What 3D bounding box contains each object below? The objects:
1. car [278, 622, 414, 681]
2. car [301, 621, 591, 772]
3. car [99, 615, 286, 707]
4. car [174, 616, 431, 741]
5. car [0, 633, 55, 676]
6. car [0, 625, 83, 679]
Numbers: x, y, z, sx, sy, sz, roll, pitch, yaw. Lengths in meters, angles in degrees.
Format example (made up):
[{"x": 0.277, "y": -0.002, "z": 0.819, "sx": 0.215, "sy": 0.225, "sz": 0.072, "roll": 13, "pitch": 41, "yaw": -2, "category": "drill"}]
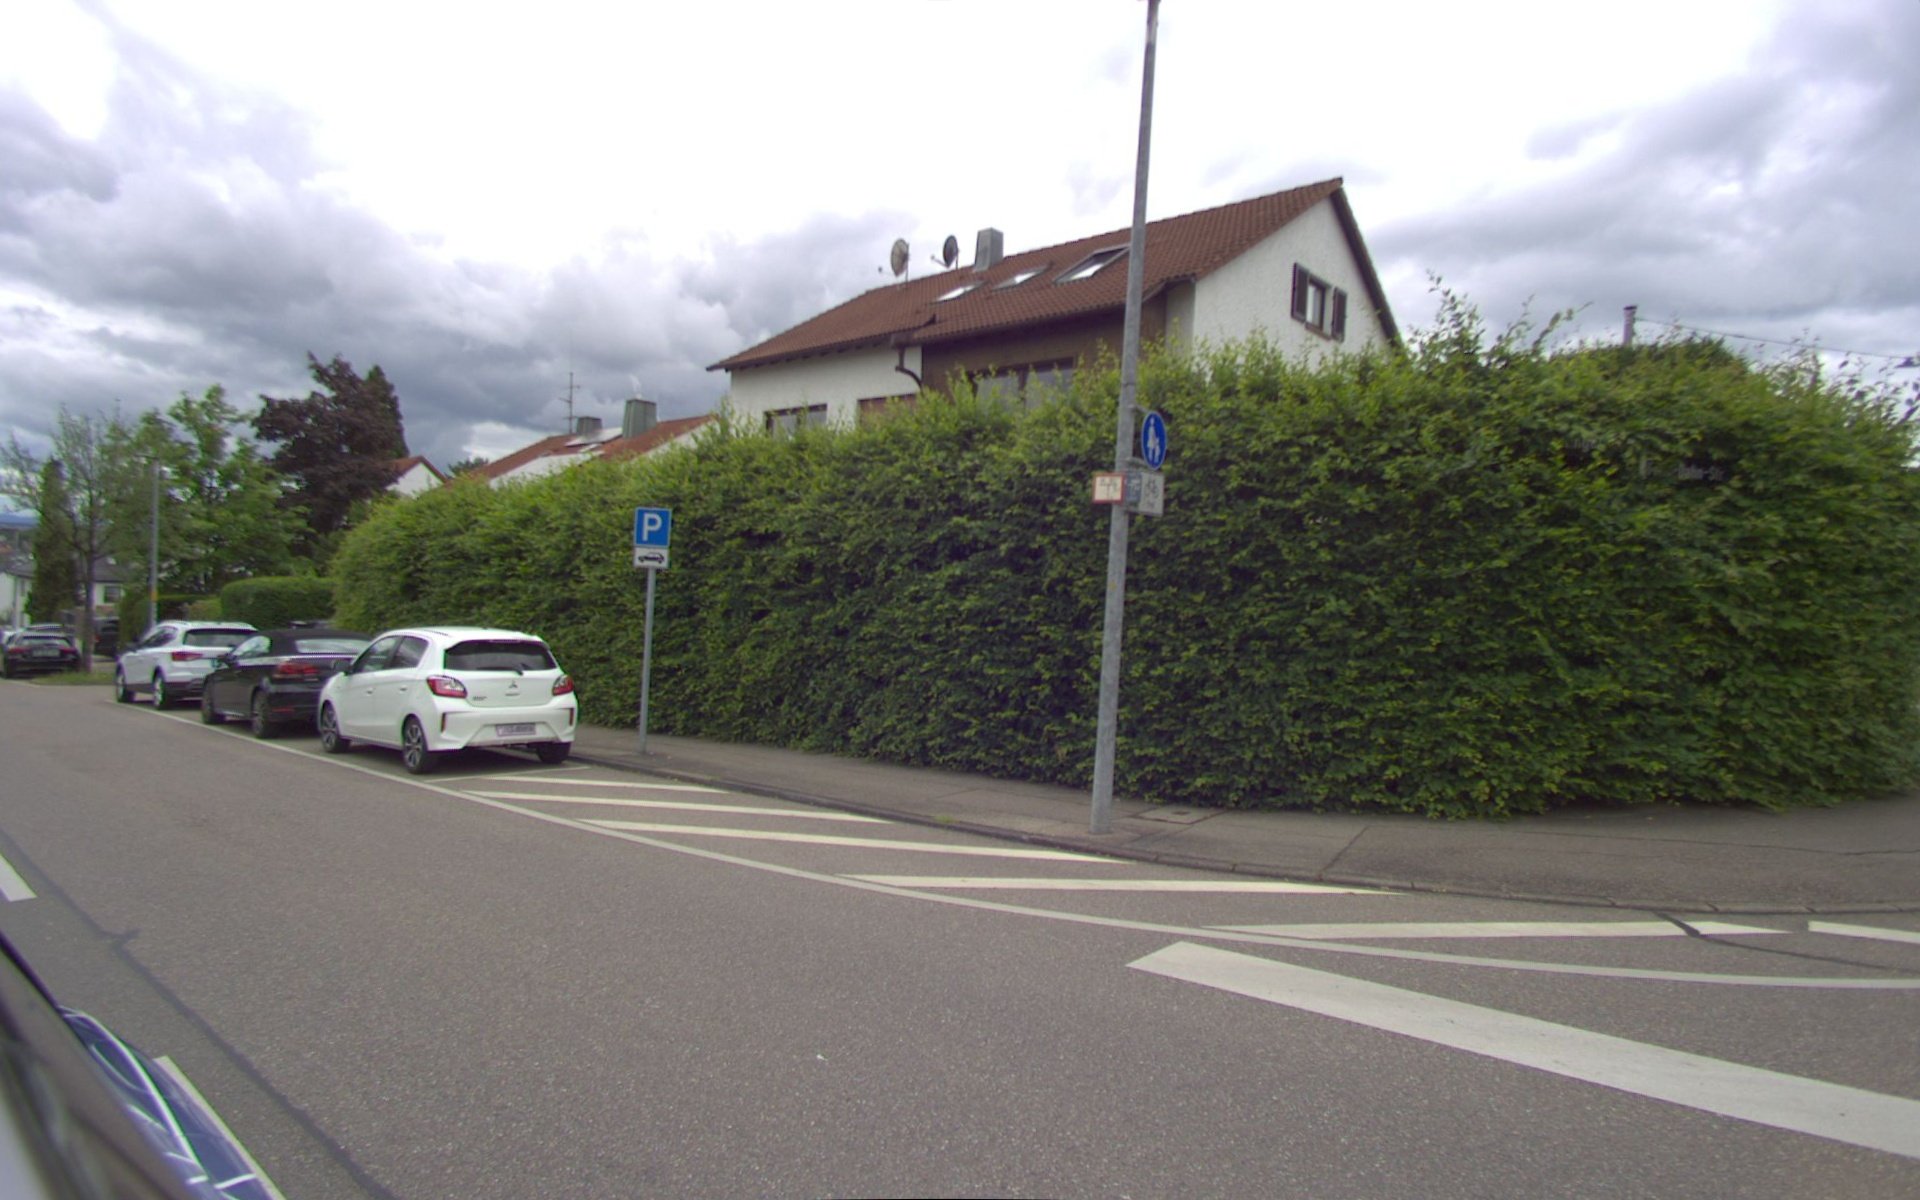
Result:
[{"x": -16.587, "y": 1.351, "z": 27.381, "sx": 1.500, "sy": 1.517, "sz": 2.848, "roll": -1, "pitch": -2, "yaw": 45, "category": "car"}, {"x": -5.879, "y": 0.990, "z": 11.427, "sx": 3.578, "sy": 1.430, "sz": 1.672, "roll": -1, "pitch": -4, "yaw": 41, "category": "car"}, {"x": -14.186, "y": 1.053, "z": 18.624, "sx": 4.339, "sy": 1.501, "sz": 1.866, "roll": -1, "pitch": -3, "yaw": 41, "category": "car"}, {"x": -9.537, "y": 1.042, "z": 14.520, "sx": 4.736, "sy": 1.501, "sz": 1.763, "roll": -1, "pitch": -5, "yaw": 41, "category": "car"}, {"x": -32.585, "y": 1.832, "z": 34.781, "sx": 3.998, "sy": 1.386, "sz": 1.703, "roll": -1, "pitch": -3, "yaw": 41, "category": "car"}, {"x": -28.953, "y": 1.581, "z": 31.511, "sx": 4.003, "sy": 1.561, "sz": 1.919, "roll": -1, "pitch": -3, "yaw": 41, "category": "car"}]
